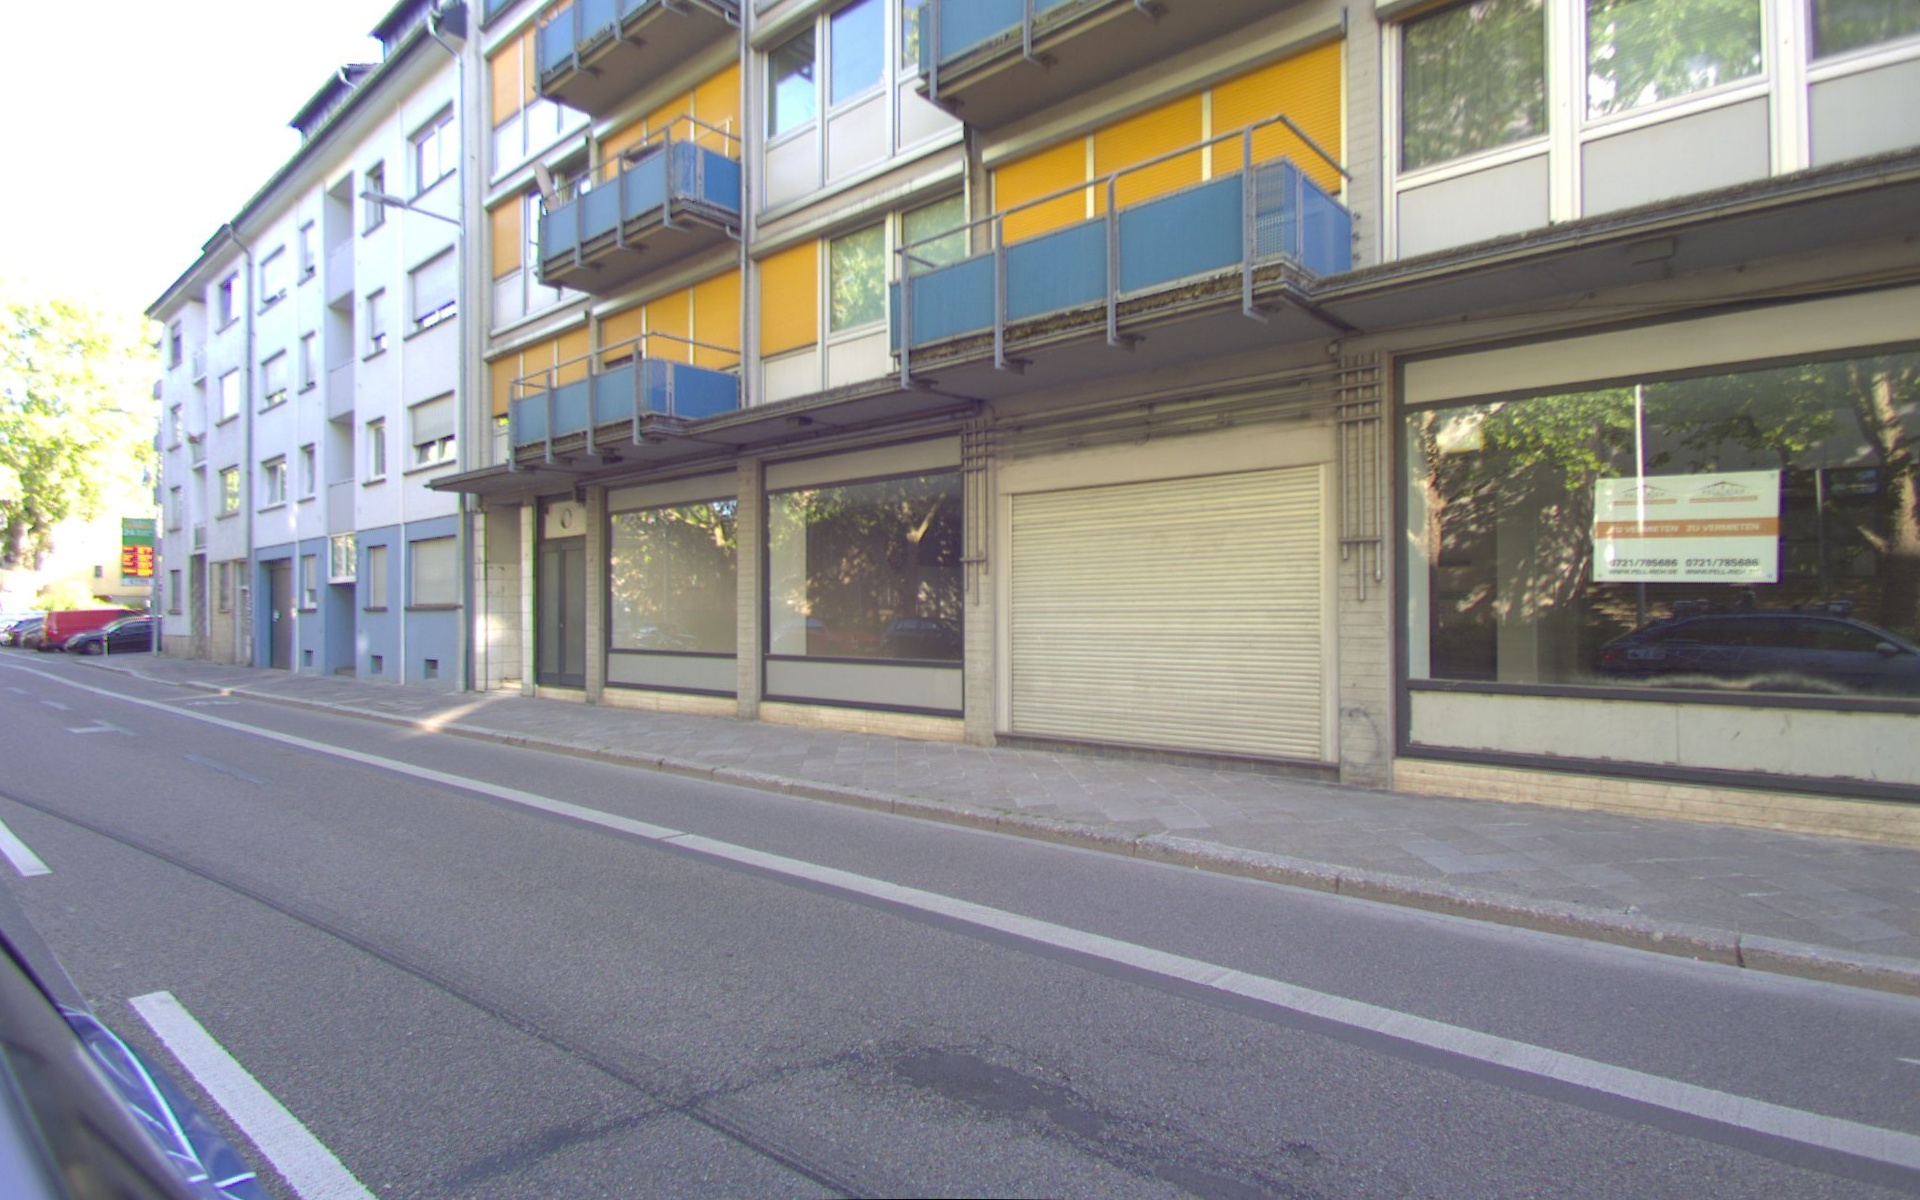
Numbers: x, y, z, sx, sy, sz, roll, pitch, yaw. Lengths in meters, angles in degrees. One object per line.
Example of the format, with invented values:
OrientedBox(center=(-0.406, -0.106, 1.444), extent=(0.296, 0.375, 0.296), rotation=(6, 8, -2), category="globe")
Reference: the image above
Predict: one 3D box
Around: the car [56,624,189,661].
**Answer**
OrientedBox(center=(-36.476, 1.798, 44.141), extent=(1.657, 1.417, 4.269), rotation=(-1, 0, 40), category="car")

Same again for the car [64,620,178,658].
OrientedBox(center=(-38.026, 1.735, 45.924), extent=(1.657, 1.583, 3.762), rotation=(-1, 0, 41), category="car")

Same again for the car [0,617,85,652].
OrientedBox(center=(-56.041, 2.070, 61.453), extent=(2.000, 1.971, 4.180), rotation=(-1, 0, 43), category="car")

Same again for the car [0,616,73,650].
OrientedBox(center=(-59.324, 2.099, 64.383), extent=(2.000, 2.052, 4.180), rotation=(-1, 0, 43), category="car")

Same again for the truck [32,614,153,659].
OrientedBox(center=(-40.700, 1.652, 47.554), extent=(1.999, 1.939, 4.040), rotation=(-1, 0, 40), category="truck")
